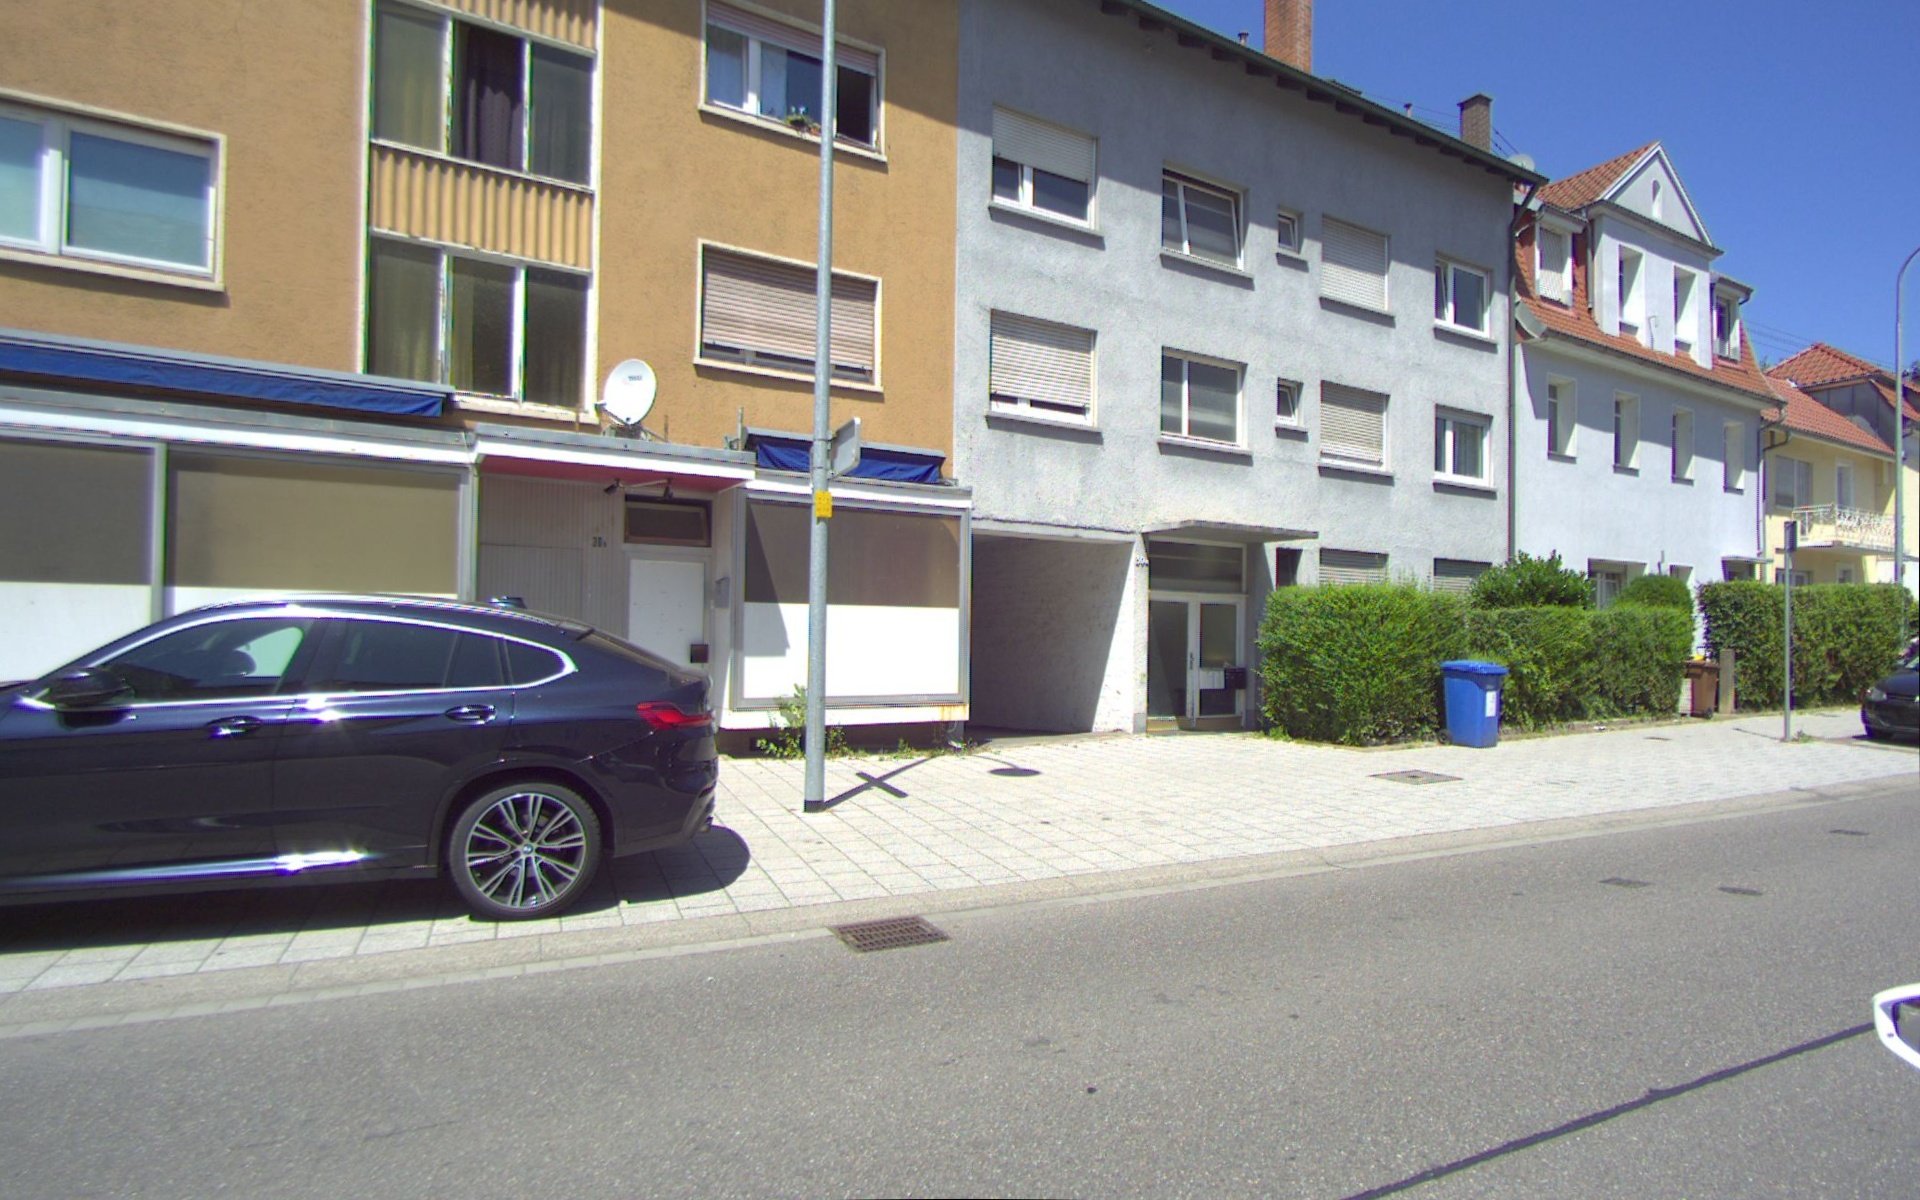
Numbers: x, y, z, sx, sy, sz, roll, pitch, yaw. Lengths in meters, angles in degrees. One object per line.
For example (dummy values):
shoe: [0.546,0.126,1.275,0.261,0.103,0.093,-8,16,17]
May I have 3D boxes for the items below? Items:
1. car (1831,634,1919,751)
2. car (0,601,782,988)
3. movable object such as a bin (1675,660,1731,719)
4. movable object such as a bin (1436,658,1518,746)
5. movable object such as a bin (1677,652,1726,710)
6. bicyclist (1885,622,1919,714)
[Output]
car: [14.438,1.258,14.092,4.140,1.479,1.782,1,1,-25]
car: [-3.663,0.839,5.505,5.030,1.636,2.083,1,0,-20]
movable object such as a bin: [12.282,1.467,16.600,0.697,0.924,0.492,1,-2,-29]
movable object such as a bin: [6.578,1.279,12.800,0.644,1.061,0.670,1,-2,-29]
movable object such as a bin: [13.160,1.430,17.830,0.606,1.003,0.465,1,-2,-29]
bicyclist: [17.795,1.251,18.571,0.825,1.681,0.778,1,-2,-30]
